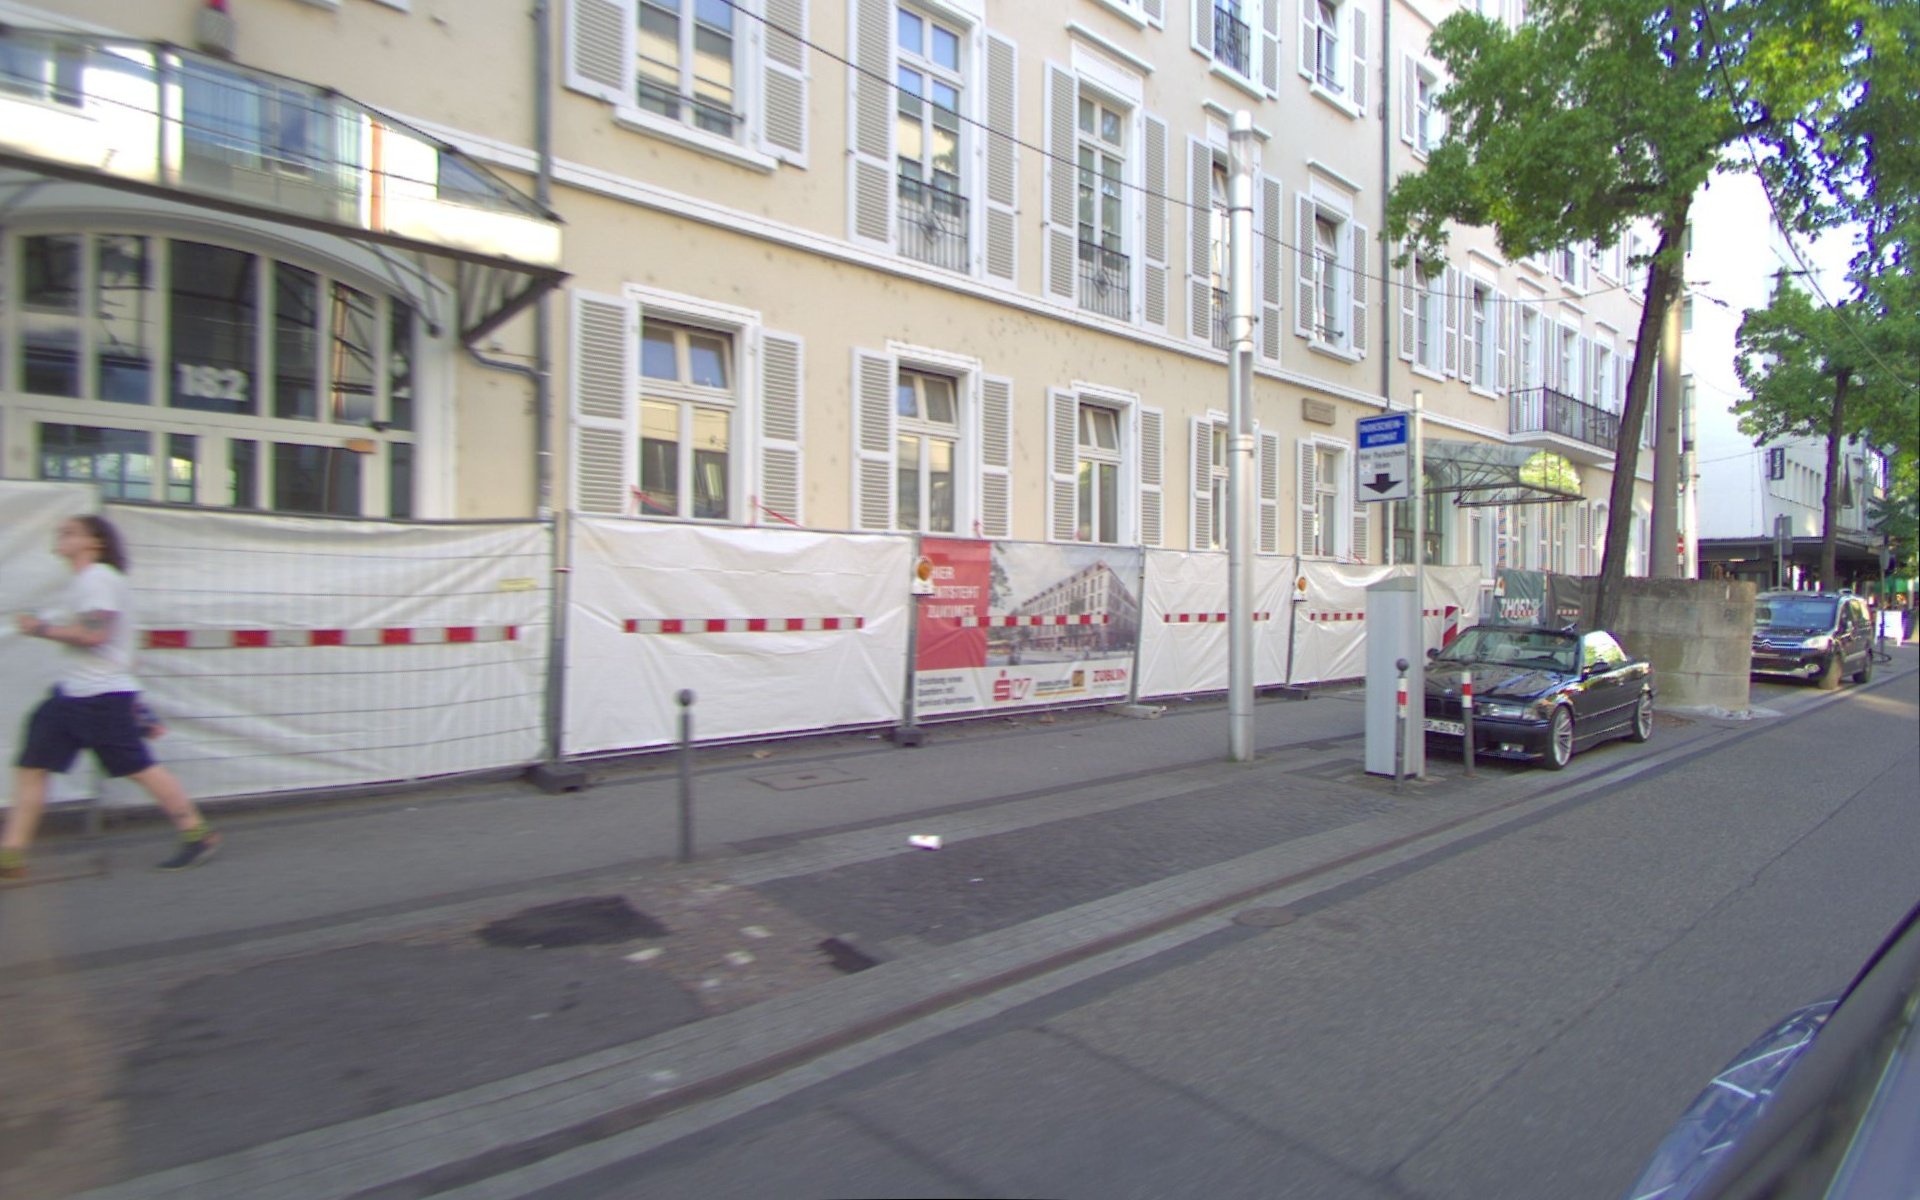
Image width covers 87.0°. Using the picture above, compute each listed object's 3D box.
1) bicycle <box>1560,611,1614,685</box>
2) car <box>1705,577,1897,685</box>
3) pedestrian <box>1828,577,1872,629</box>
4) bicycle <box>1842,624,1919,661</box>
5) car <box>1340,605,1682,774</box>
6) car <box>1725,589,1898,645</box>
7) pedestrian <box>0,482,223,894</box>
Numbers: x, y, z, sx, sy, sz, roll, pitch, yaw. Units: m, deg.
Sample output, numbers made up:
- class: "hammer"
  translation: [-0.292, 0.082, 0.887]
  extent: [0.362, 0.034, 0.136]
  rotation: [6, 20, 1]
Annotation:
- class: "bicycle"
  translation: [10.285, 0.758, 16.645]
  extent: [0.650, 1.084, 1.657]
  rotation: [3, 1, 29]
- class: "car"
  translation: [16.260, 0.515, 19.511]
  extent: [4.237, 1.815, 1.957]
  rotation: [0, 2, -38]
- class: "pedestrian"
  translation: [32.507, 0.094, 36.968]
  extent: [1.050, 1.837, 0.946]
  rotation: [-2, 1, -33]
- class: "bicycle"
  translation: [22.932, 1.014, 24.582]
  extent: [1.531, 0.757, 1.761]
  rotation: [0, 2, -23]
- class: "car"
  translation: [5.983, 0.778, 10.771]
  extent: [4.254, 1.327, 1.798]
  rotation: [0, 3, -41]
- class: "car"
  translation: [27.546, 0.494, 32.865]
  extent: [1.831, 1.628, 3.944]
  rotation: [-2, 2, -34]
- class: "pedestrian"
  translation: [-4.432, 0.397, 5.160]
  extent: [1.034, 1.910, 0.714]
  rotation: [0, 1, -41]
